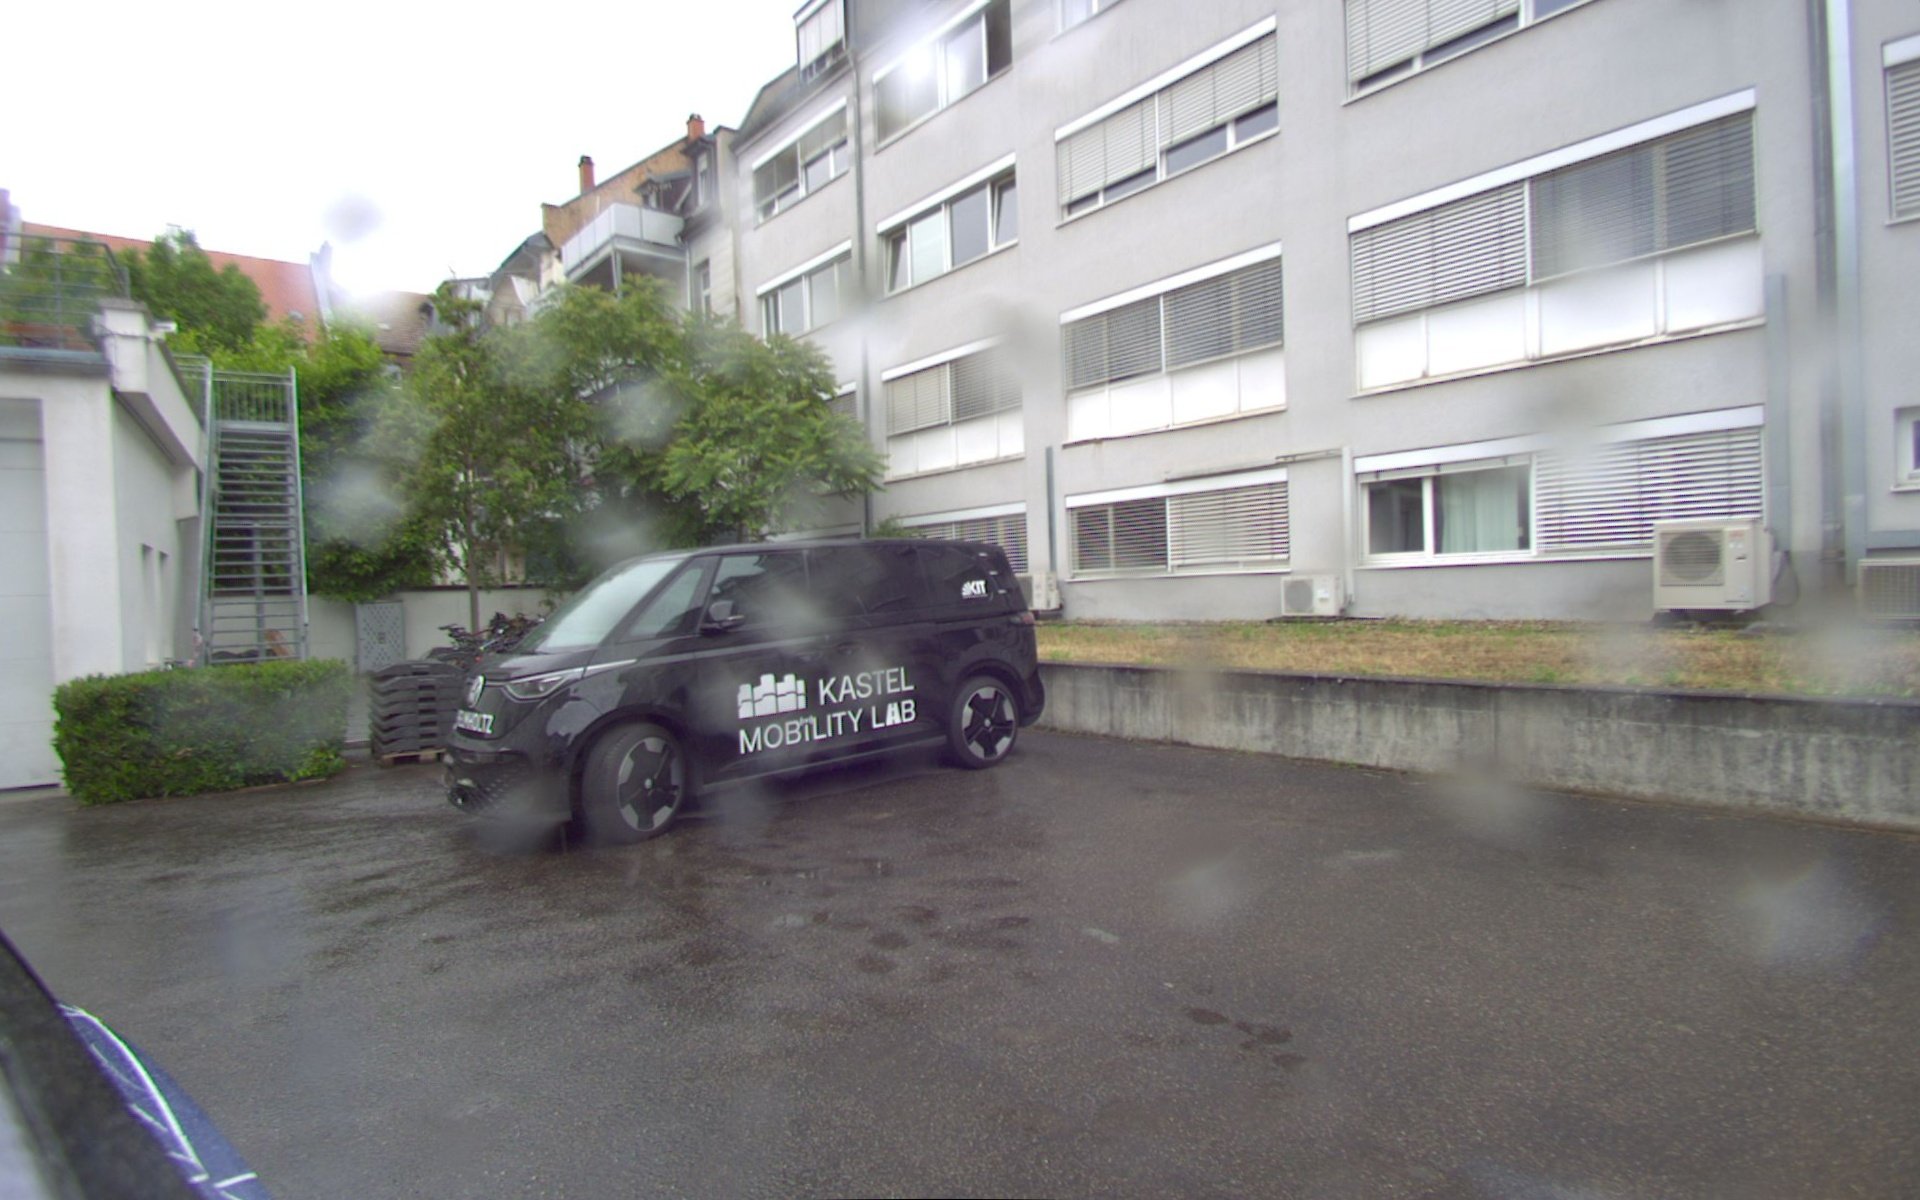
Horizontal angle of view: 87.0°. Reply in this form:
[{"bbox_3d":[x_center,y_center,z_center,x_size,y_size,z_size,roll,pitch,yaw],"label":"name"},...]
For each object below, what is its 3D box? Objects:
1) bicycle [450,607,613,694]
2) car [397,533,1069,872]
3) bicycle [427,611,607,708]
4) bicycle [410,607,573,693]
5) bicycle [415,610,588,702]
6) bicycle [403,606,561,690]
[{"bbox_3d":[-6.819,0.765,16.171,2.282,1.195,0.645,-3,3,-33],"label":"bicycle"},{"bbox_3d":[-1.501,0.498,7.764,4.560,1.850,1.991,-3,0,-41],"label":"car"},{"bbox_3d":[-6.395,0.820,14.692,2.282,1.195,0.645,-3,3,-33],"label":"bicycle"},{"bbox_3d":[-7.520,0.773,16.312,2.282,1.195,0.645,-3,3,-33],"label":"bicycle"},{"bbox_3d":[-6.903,0.804,15.315,2.282,1.195,0.645,-3,3,-33],"label":"bicycle"},{"bbox_3d":[-7.911,0.760,16.814,2.282,1.195,0.645,-3,3,-33],"label":"bicycle"}]
